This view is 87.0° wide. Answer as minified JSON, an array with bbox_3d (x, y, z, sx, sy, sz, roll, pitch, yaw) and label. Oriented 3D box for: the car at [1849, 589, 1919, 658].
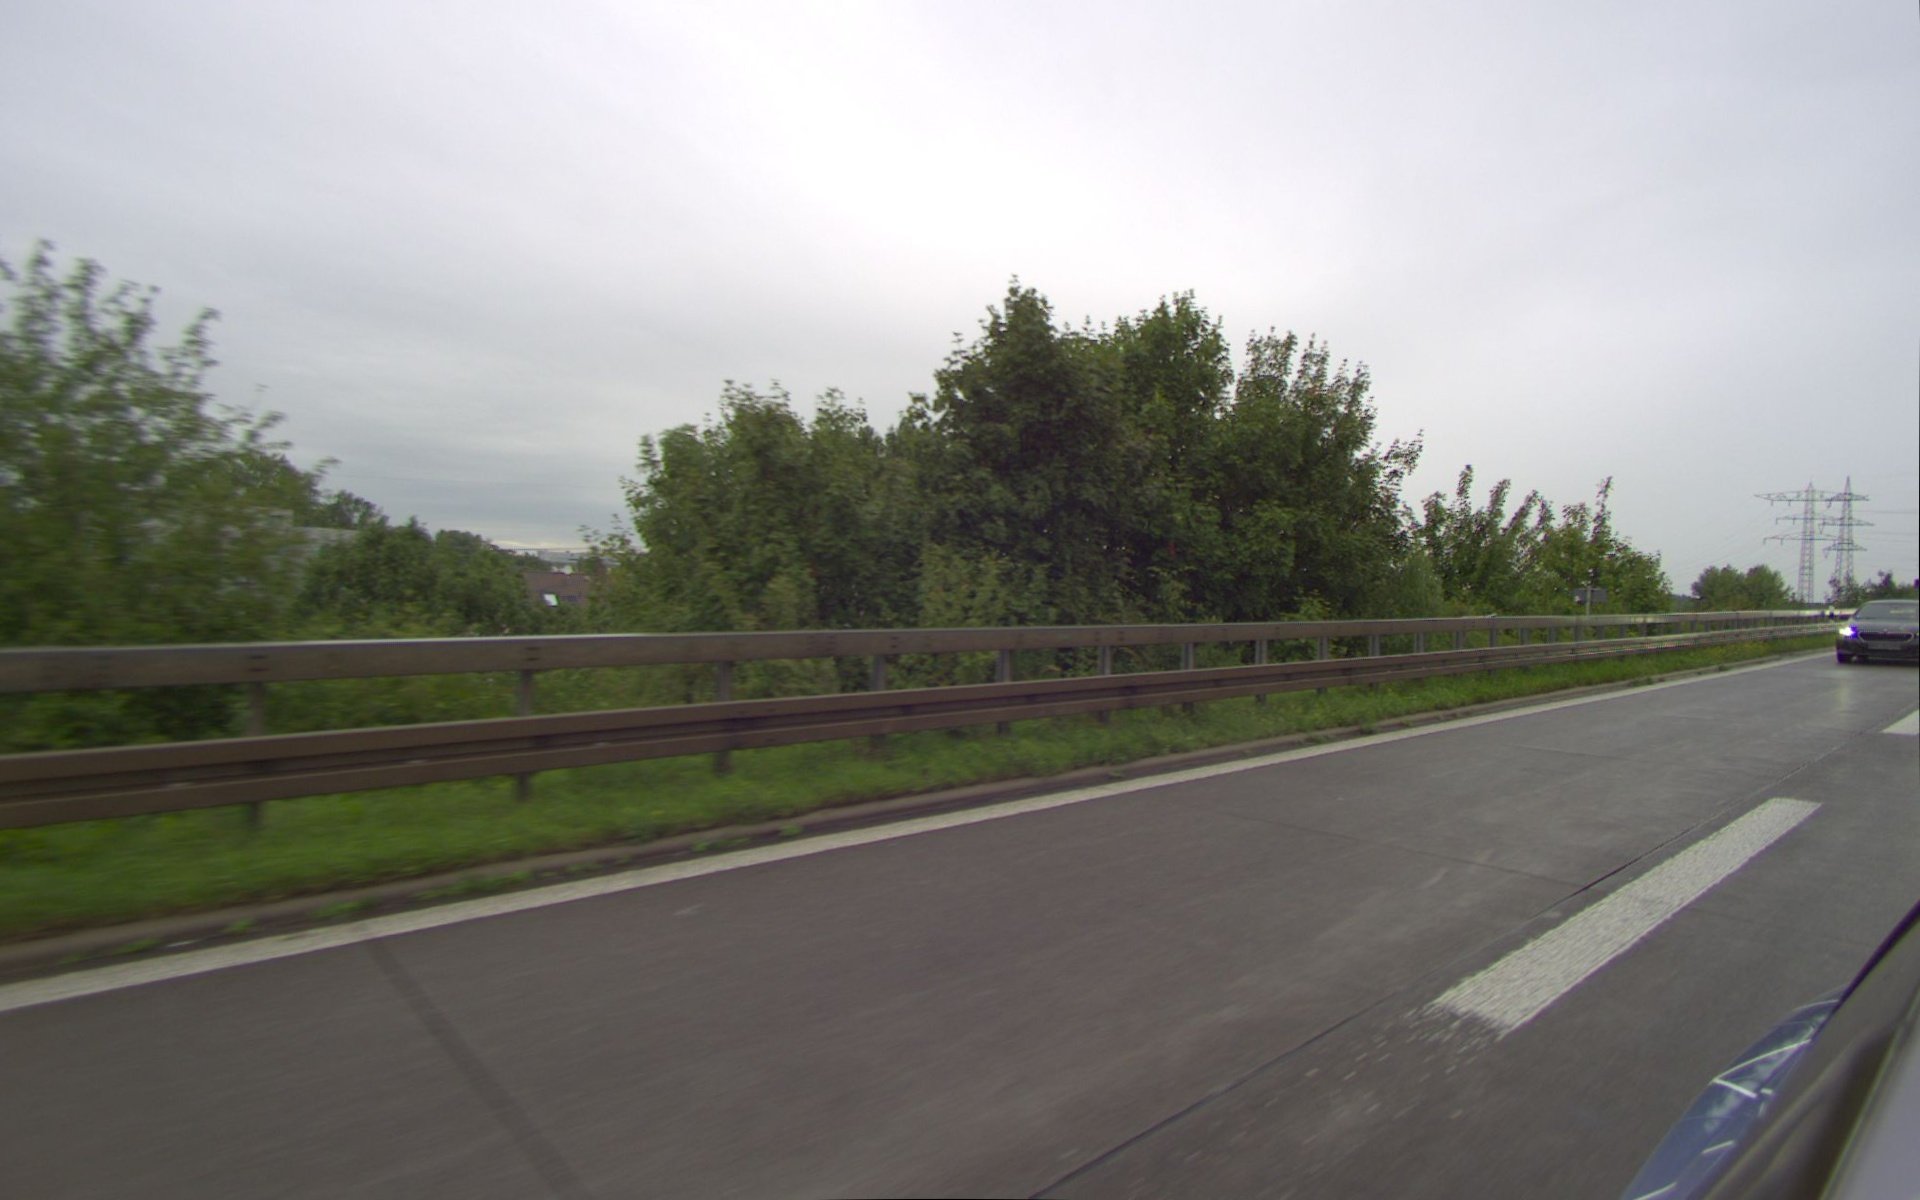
[{"bbox_3d":[22.997,0.548,24.458,4.131,1.560,1.860,1,-1,-42],"label":"car"}]
